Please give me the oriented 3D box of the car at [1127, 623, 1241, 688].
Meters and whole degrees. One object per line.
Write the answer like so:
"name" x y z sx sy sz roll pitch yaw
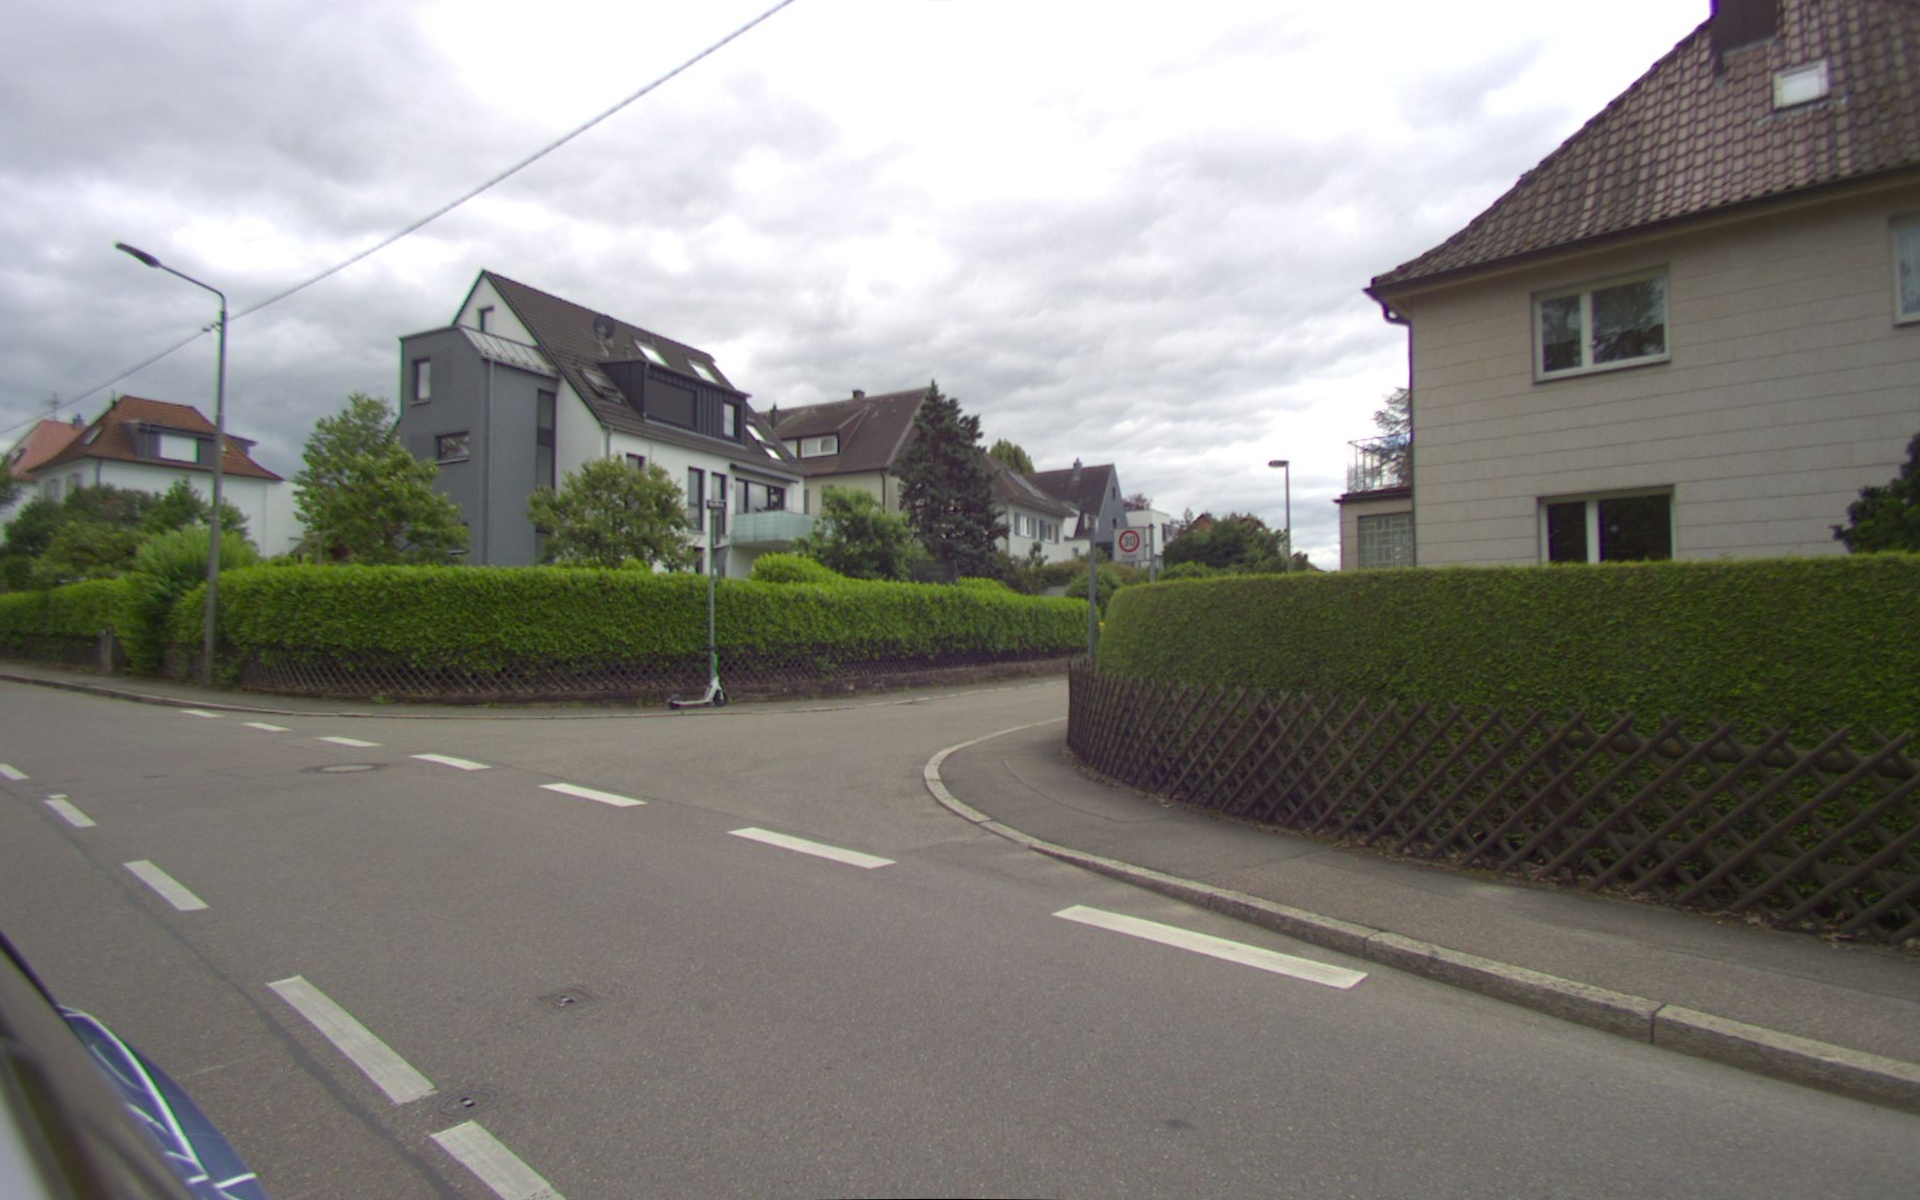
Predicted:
"car" 6.096 1.475 27.240 1.889 1.609 3.959 -1 -3 30

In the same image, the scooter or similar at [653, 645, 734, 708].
"scooter or similar" -5.007 1.424 19.073 0.455 1.109 1.435 2 0 42
